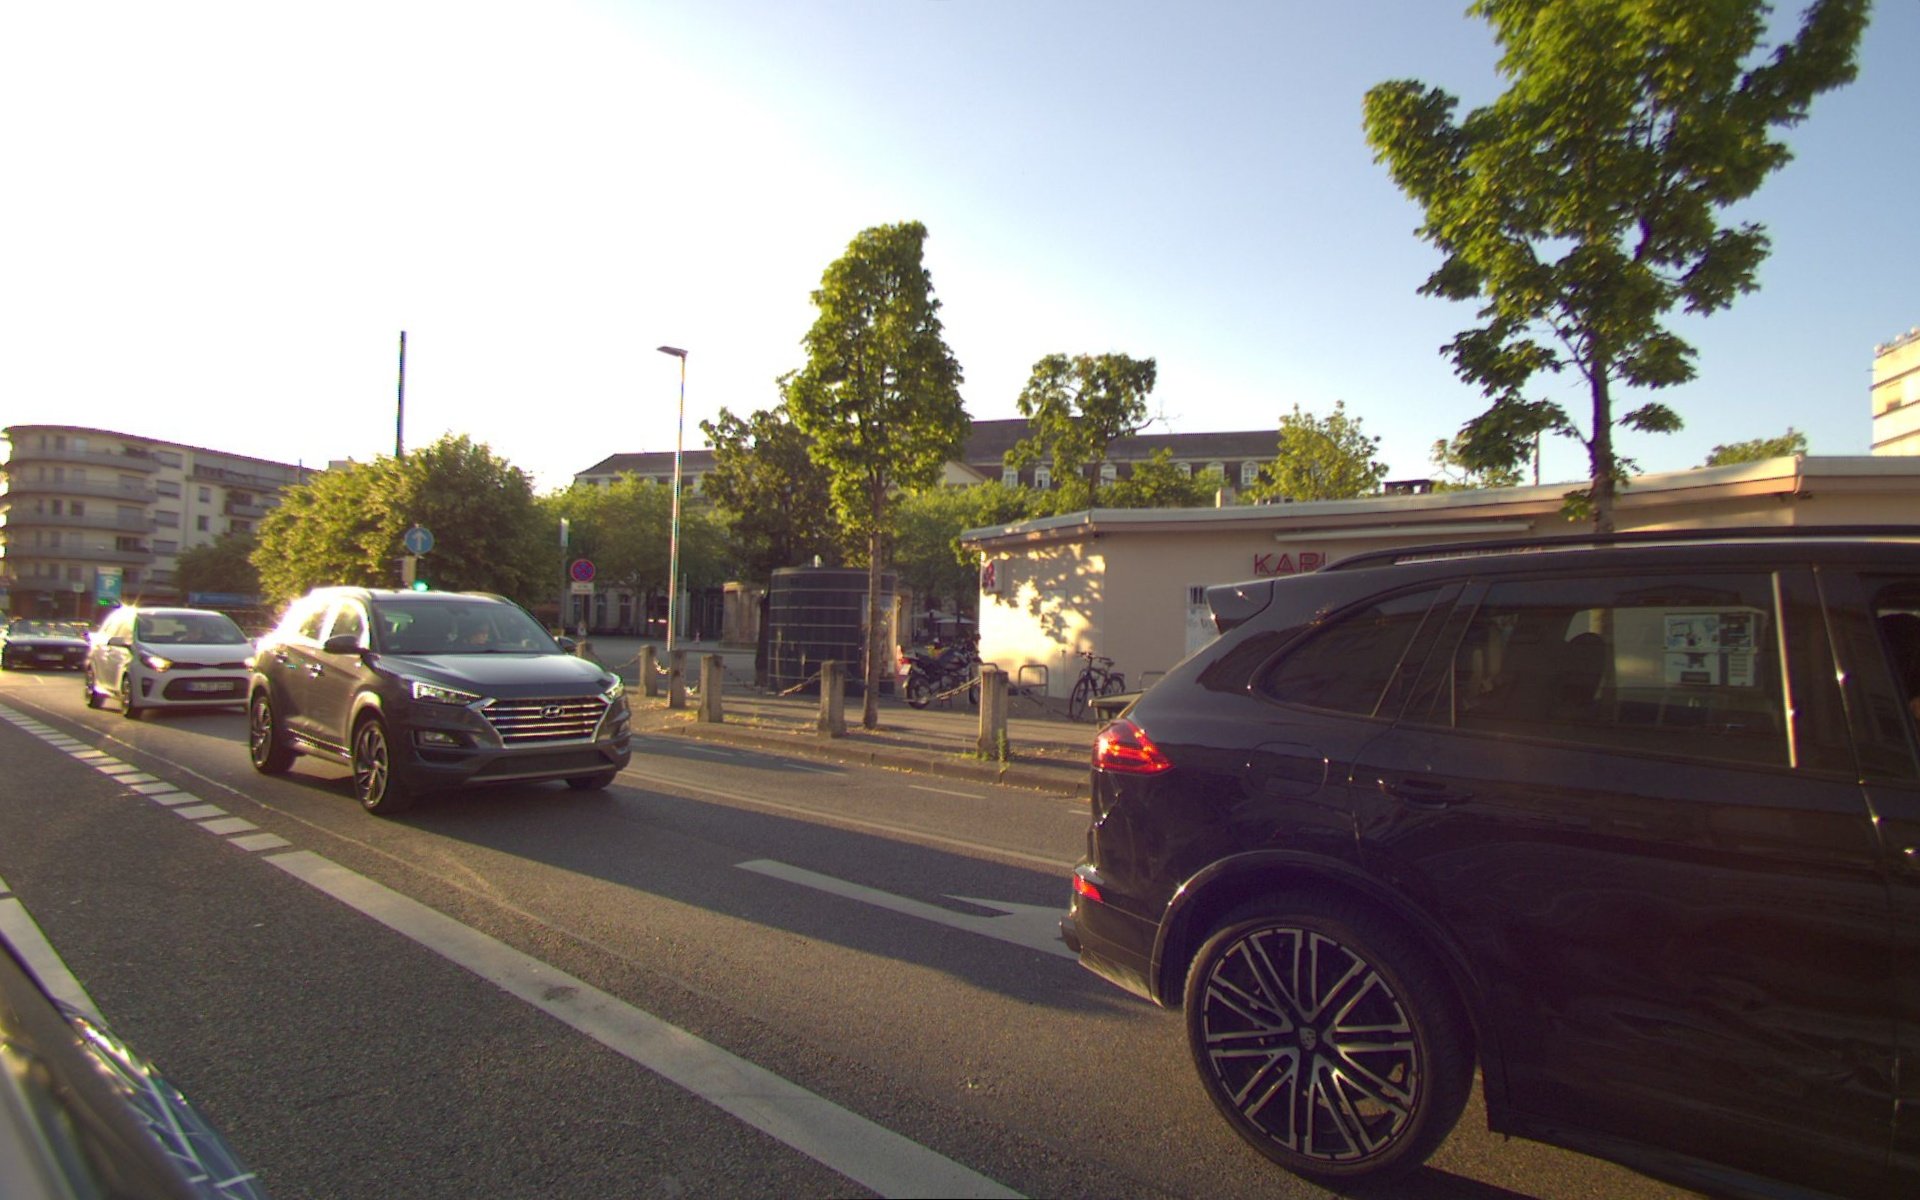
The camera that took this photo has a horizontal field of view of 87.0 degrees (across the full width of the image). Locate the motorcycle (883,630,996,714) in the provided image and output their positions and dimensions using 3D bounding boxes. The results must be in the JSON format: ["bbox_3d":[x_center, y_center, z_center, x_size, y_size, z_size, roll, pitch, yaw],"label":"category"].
[{"bbox_3d":[-0.340,1.312,18.744,0.700,1.457,2.368,-1,-3,40],"label":"motorcycle"}]

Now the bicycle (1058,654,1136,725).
[{"bbox_3d":[2.314,1.473,16.925,0.395,1.111,1.787,-1,-3,39],"label":"bicycle"}]

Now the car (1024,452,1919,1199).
[{"bbox_3d":[2.510,0.610,2.353,4.566,1.711,1.782,-1,-3,41],"label":"car"}]

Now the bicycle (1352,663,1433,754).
[{"bbox_3d":[5.873,1.435,13.691,0.448,1.122,1.846,0,-3,41],"label":"bicycle"}]

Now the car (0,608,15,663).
[{"bbox_3d":[-32.978,1.122,33.653,3.983,1.754,1.803,-1,-5,41],"label":"car"}]

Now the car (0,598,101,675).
[{"bbox_3d":[-23.392,0.924,25.660,3.983,1.754,1.803,-1,-5,41],"label":"car"}]

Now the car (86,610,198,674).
[{"bbox_3d":[-24.408,1.228,30.157,3.983,1.711,1.804,-1,-6,41],"label":"car"}]

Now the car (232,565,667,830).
[{"bbox_3d":[-4.507,0.695,8.642,4.257,1.711,1.803,-1,-3,41],"label":"car"}]

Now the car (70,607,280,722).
[{"bbox_3d":[-11.677,0.884,14.965,3.983,1.483,1.696,-1,-3,41],"label":"car"}]
